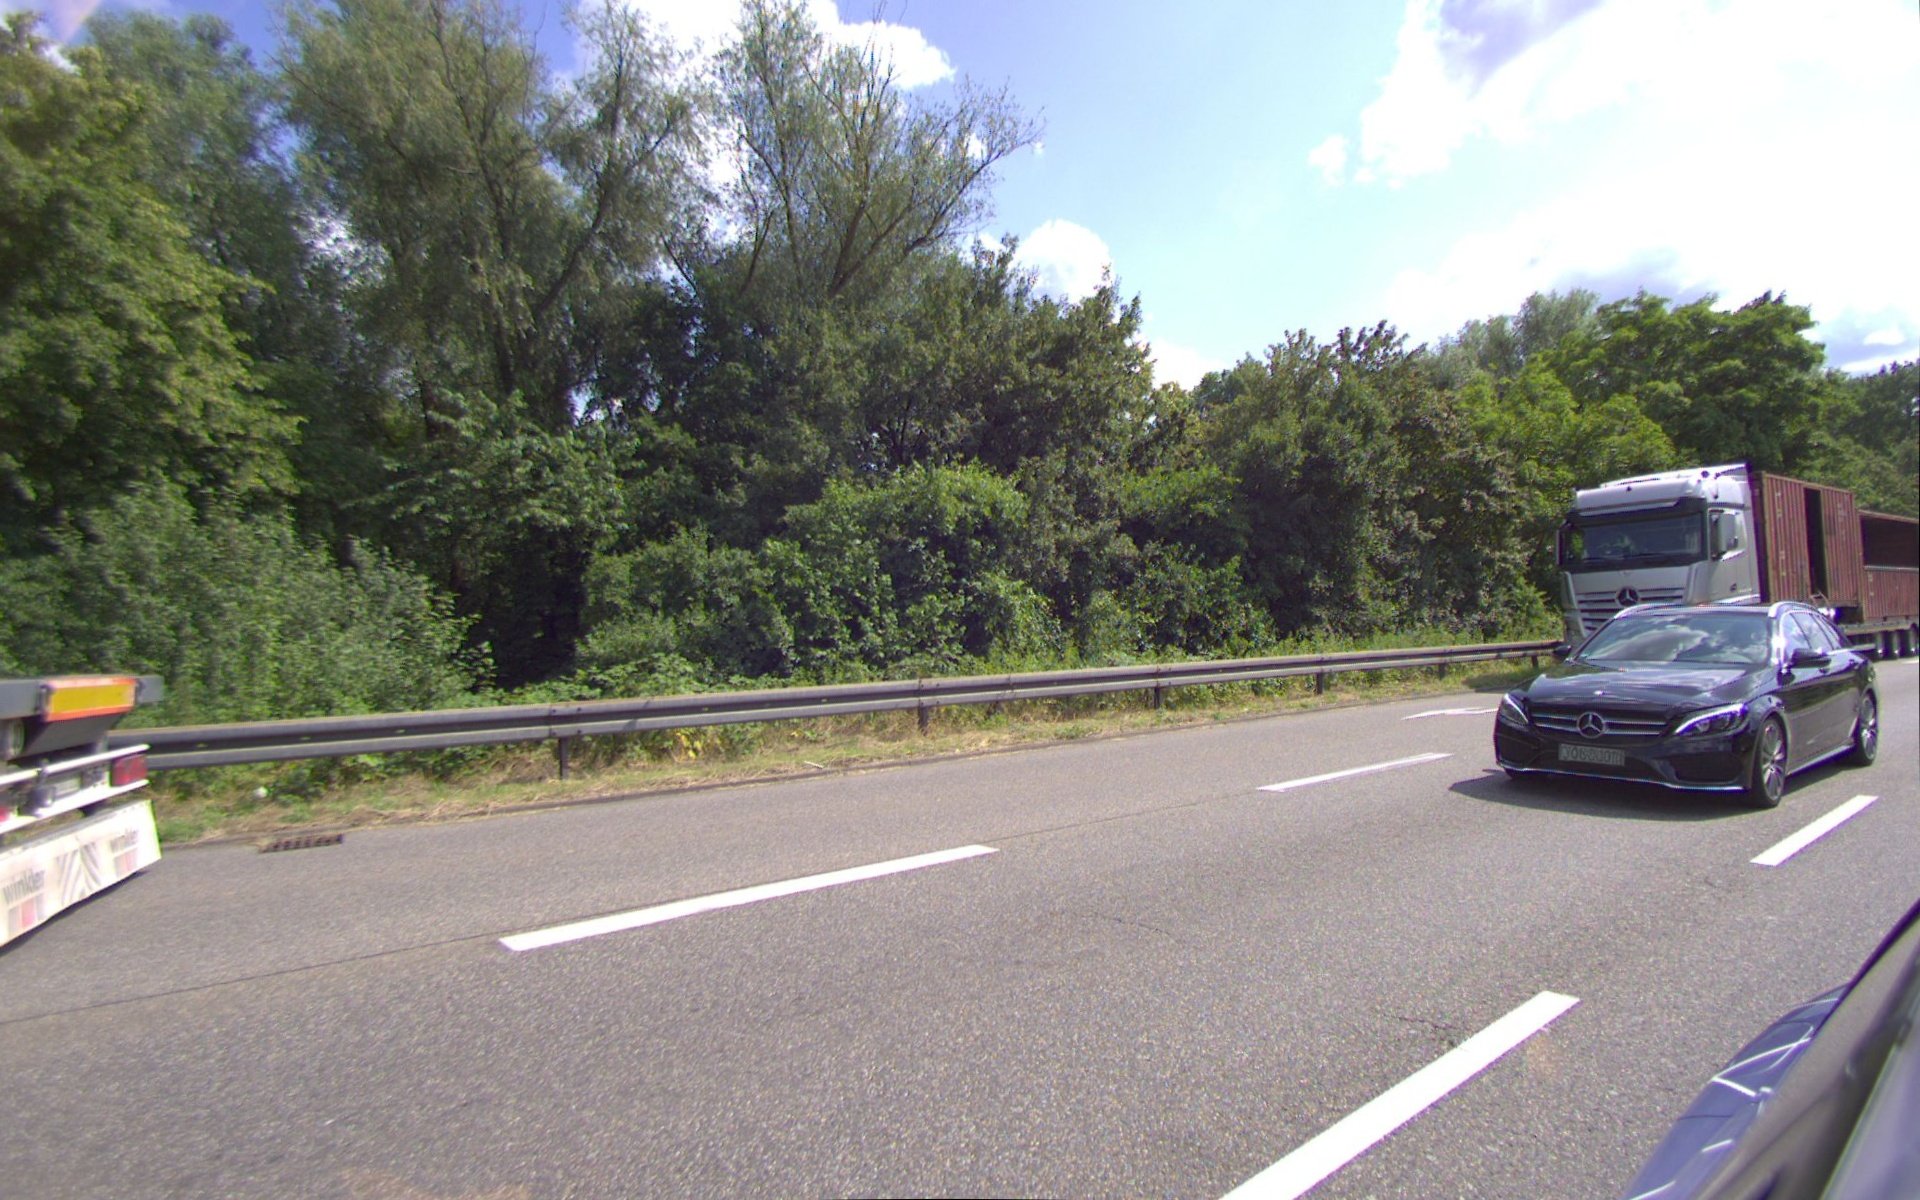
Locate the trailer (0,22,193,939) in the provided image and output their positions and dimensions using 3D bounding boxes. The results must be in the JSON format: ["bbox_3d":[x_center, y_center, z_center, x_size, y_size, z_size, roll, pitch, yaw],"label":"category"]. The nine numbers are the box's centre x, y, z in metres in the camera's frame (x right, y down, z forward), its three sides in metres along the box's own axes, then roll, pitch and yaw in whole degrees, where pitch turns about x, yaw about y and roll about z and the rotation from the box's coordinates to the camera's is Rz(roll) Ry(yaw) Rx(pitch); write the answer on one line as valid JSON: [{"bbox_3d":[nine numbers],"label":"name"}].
[{"bbox_3d":[-10.699,-0.340,2.663,13.562,3.942,2.650,-1,-3,-25],"label":"trailer"}]

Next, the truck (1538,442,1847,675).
[{"bbox_3d":[14.584,-0.653,20.005,6.690,3.895,2.777,0,-3,-35],"label":"truck"}]

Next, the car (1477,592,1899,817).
[{"bbox_3d":[6.342,0.685,8.638,4.290,1.454,1.795,0,-1,-38],"label":"car"}]

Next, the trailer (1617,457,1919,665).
[{"bbox_3d":[19.618,-0.718,23.494,12.085,3.900,2.780,0,-2,-34],"label":"trailer"}]
